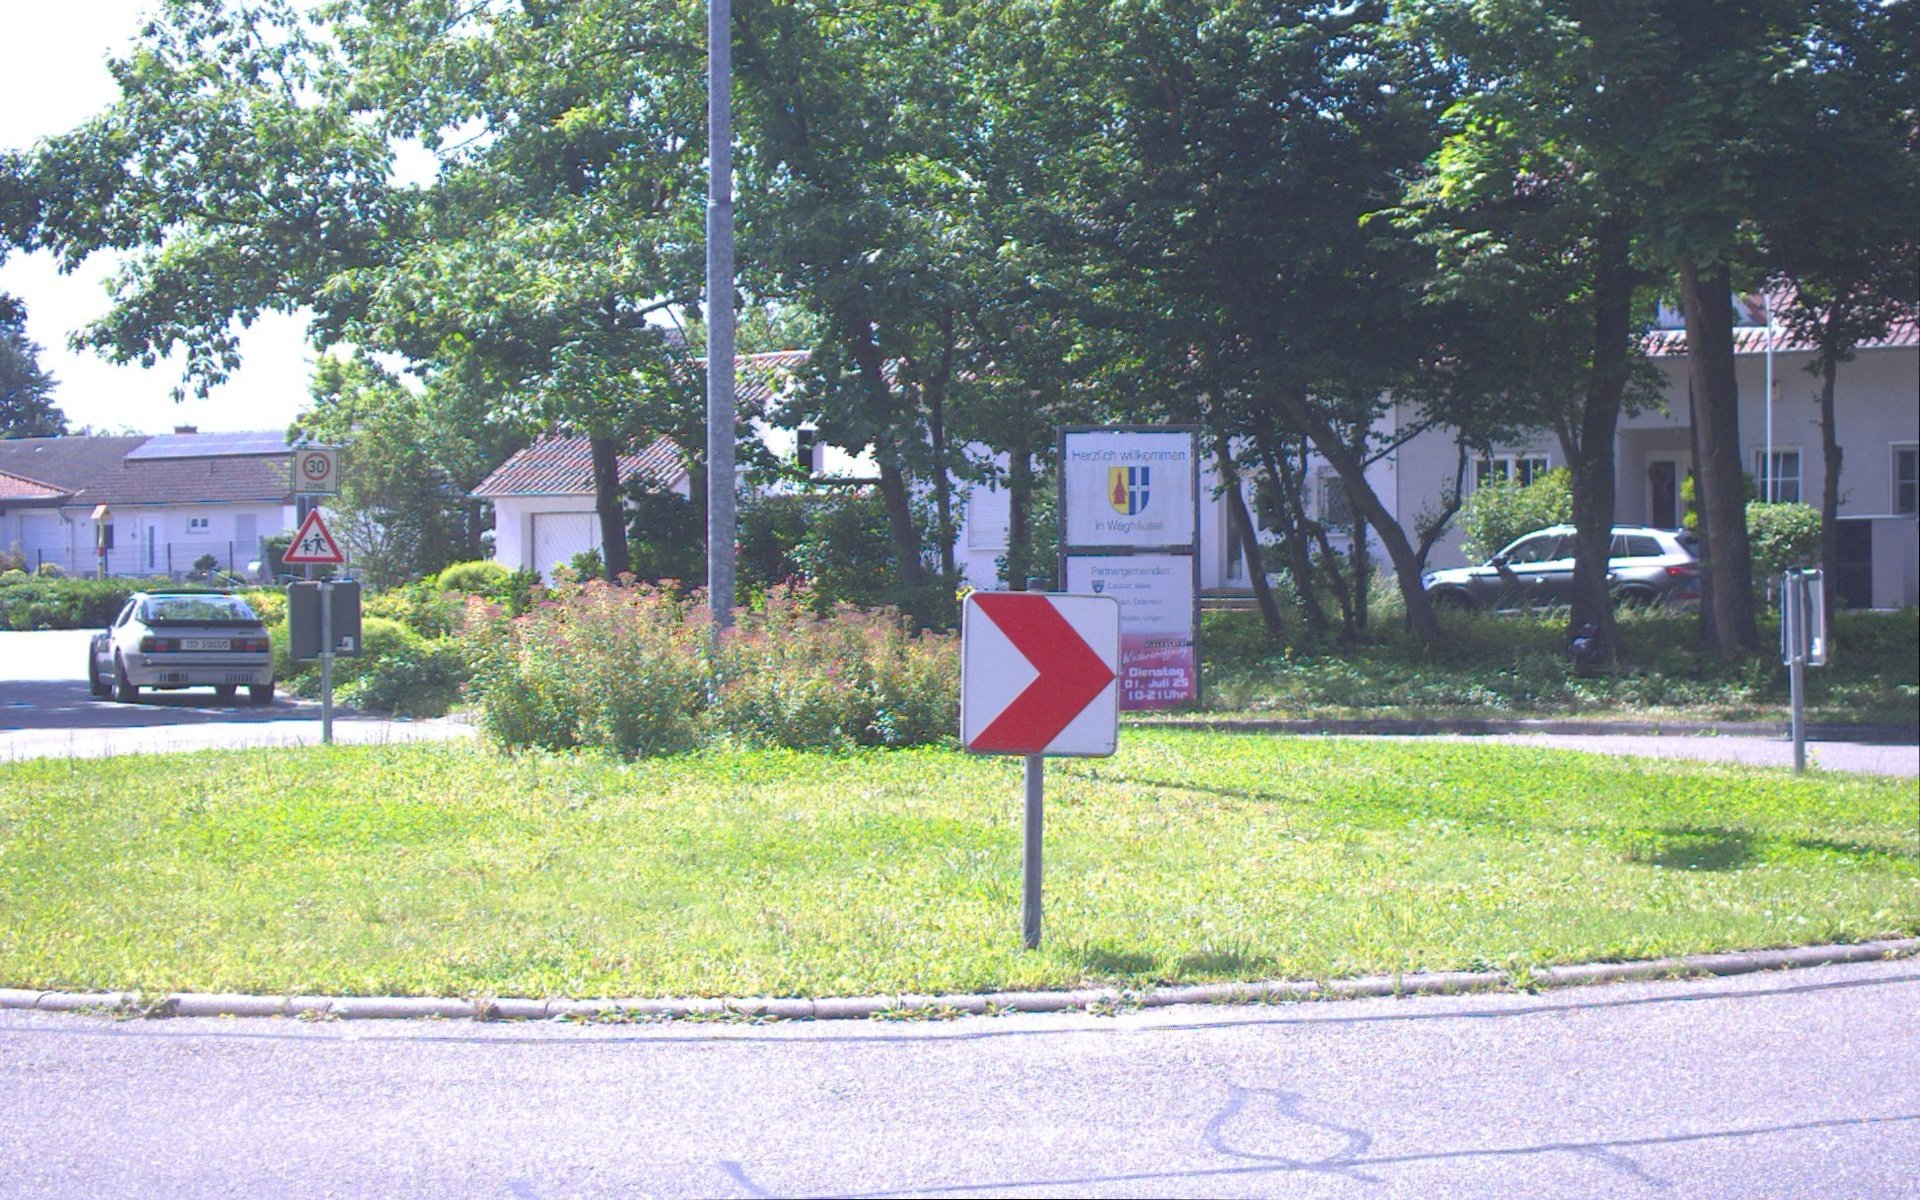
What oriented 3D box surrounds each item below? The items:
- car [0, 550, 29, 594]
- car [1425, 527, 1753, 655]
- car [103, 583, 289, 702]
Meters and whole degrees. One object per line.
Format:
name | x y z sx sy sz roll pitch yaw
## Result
car | -34.811 -0.989 121.100 1.851 1.537 3.831 0 1 24
car | 8.652 -0.137 47.425 4.138 1.699 1.663 0 1 34
car | -8.885 0.461 39.796 1.614 1.284 3.558 -1 1 -20
